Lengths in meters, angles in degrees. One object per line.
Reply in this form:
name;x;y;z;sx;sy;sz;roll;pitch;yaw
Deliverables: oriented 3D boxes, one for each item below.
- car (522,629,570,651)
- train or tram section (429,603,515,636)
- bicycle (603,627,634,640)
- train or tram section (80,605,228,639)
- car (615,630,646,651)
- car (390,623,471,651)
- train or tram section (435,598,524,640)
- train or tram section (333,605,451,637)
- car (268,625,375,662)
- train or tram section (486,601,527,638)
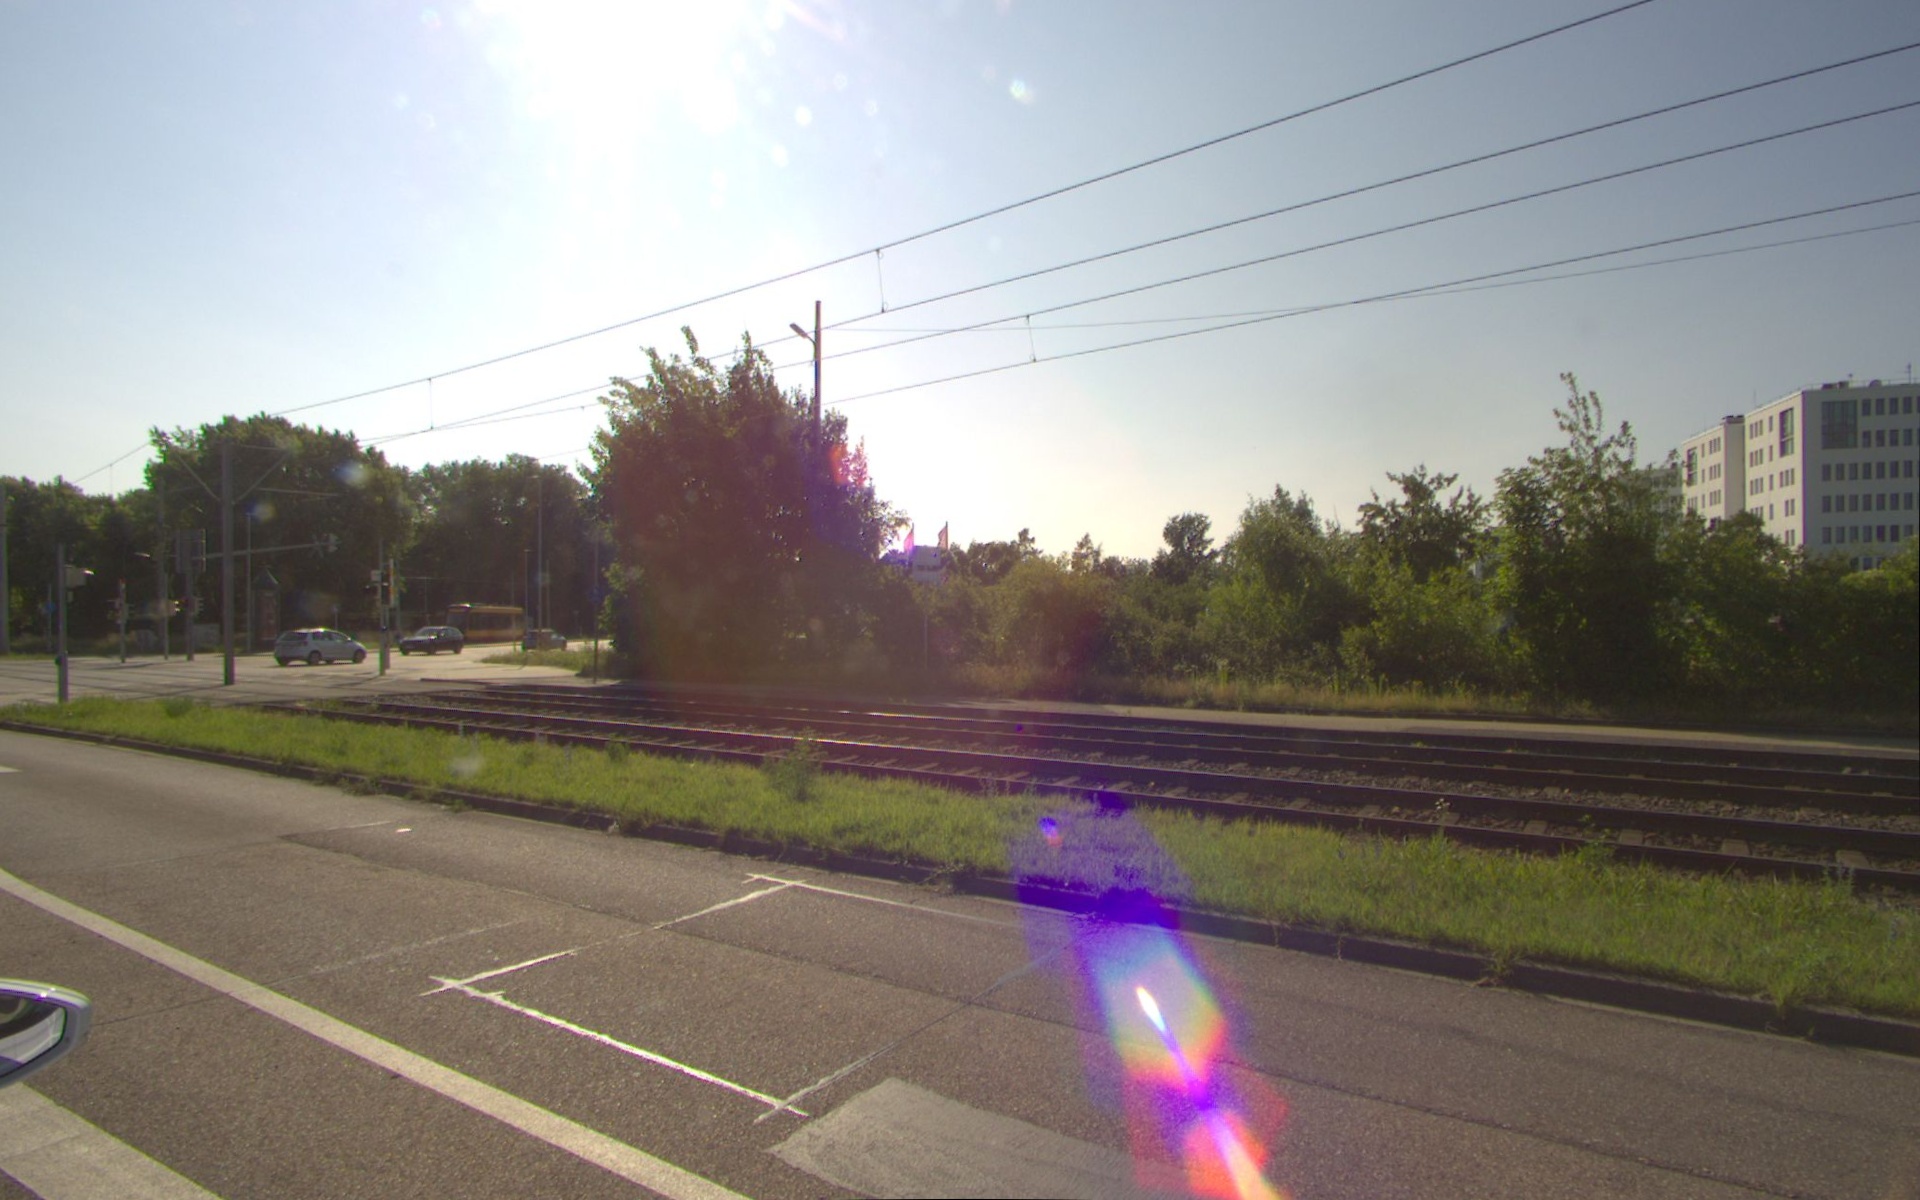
car;-27.438;2.617;66.446;1.575;1.401;3.530;0;-1;2
train or tram section;-55.278;2.238;113.215;12.061;3.626;3.037;-1;-1;34
bicycle;-38.739;3.815;113.680;3.168;1.472;1.131;-1;-2;10
train or tram section;-88.698;2.383;110.567;12.249;3.626;3.042;0;-1;-27
car;-28.352;3.470;86.195;1.617;1.744;4.624;1;-3;-7
car;-31.591;2.196;59.904;2.005;1.583;4.863;0;-1;5
train or tram section;-44.138;1.760;92.528;2.995;3.626;11.853;0;-1;-3
train or tram section;-66.222;2.431;116.990;11.992;3.626;3.054;0;-1;-1
car;-29.265;1.968;46.075;1.820;1.583;4.203;0;-1;9
train or tram section;-47.368;2.066;104.386;3.009;3.626;12.175;0;-1;-28
